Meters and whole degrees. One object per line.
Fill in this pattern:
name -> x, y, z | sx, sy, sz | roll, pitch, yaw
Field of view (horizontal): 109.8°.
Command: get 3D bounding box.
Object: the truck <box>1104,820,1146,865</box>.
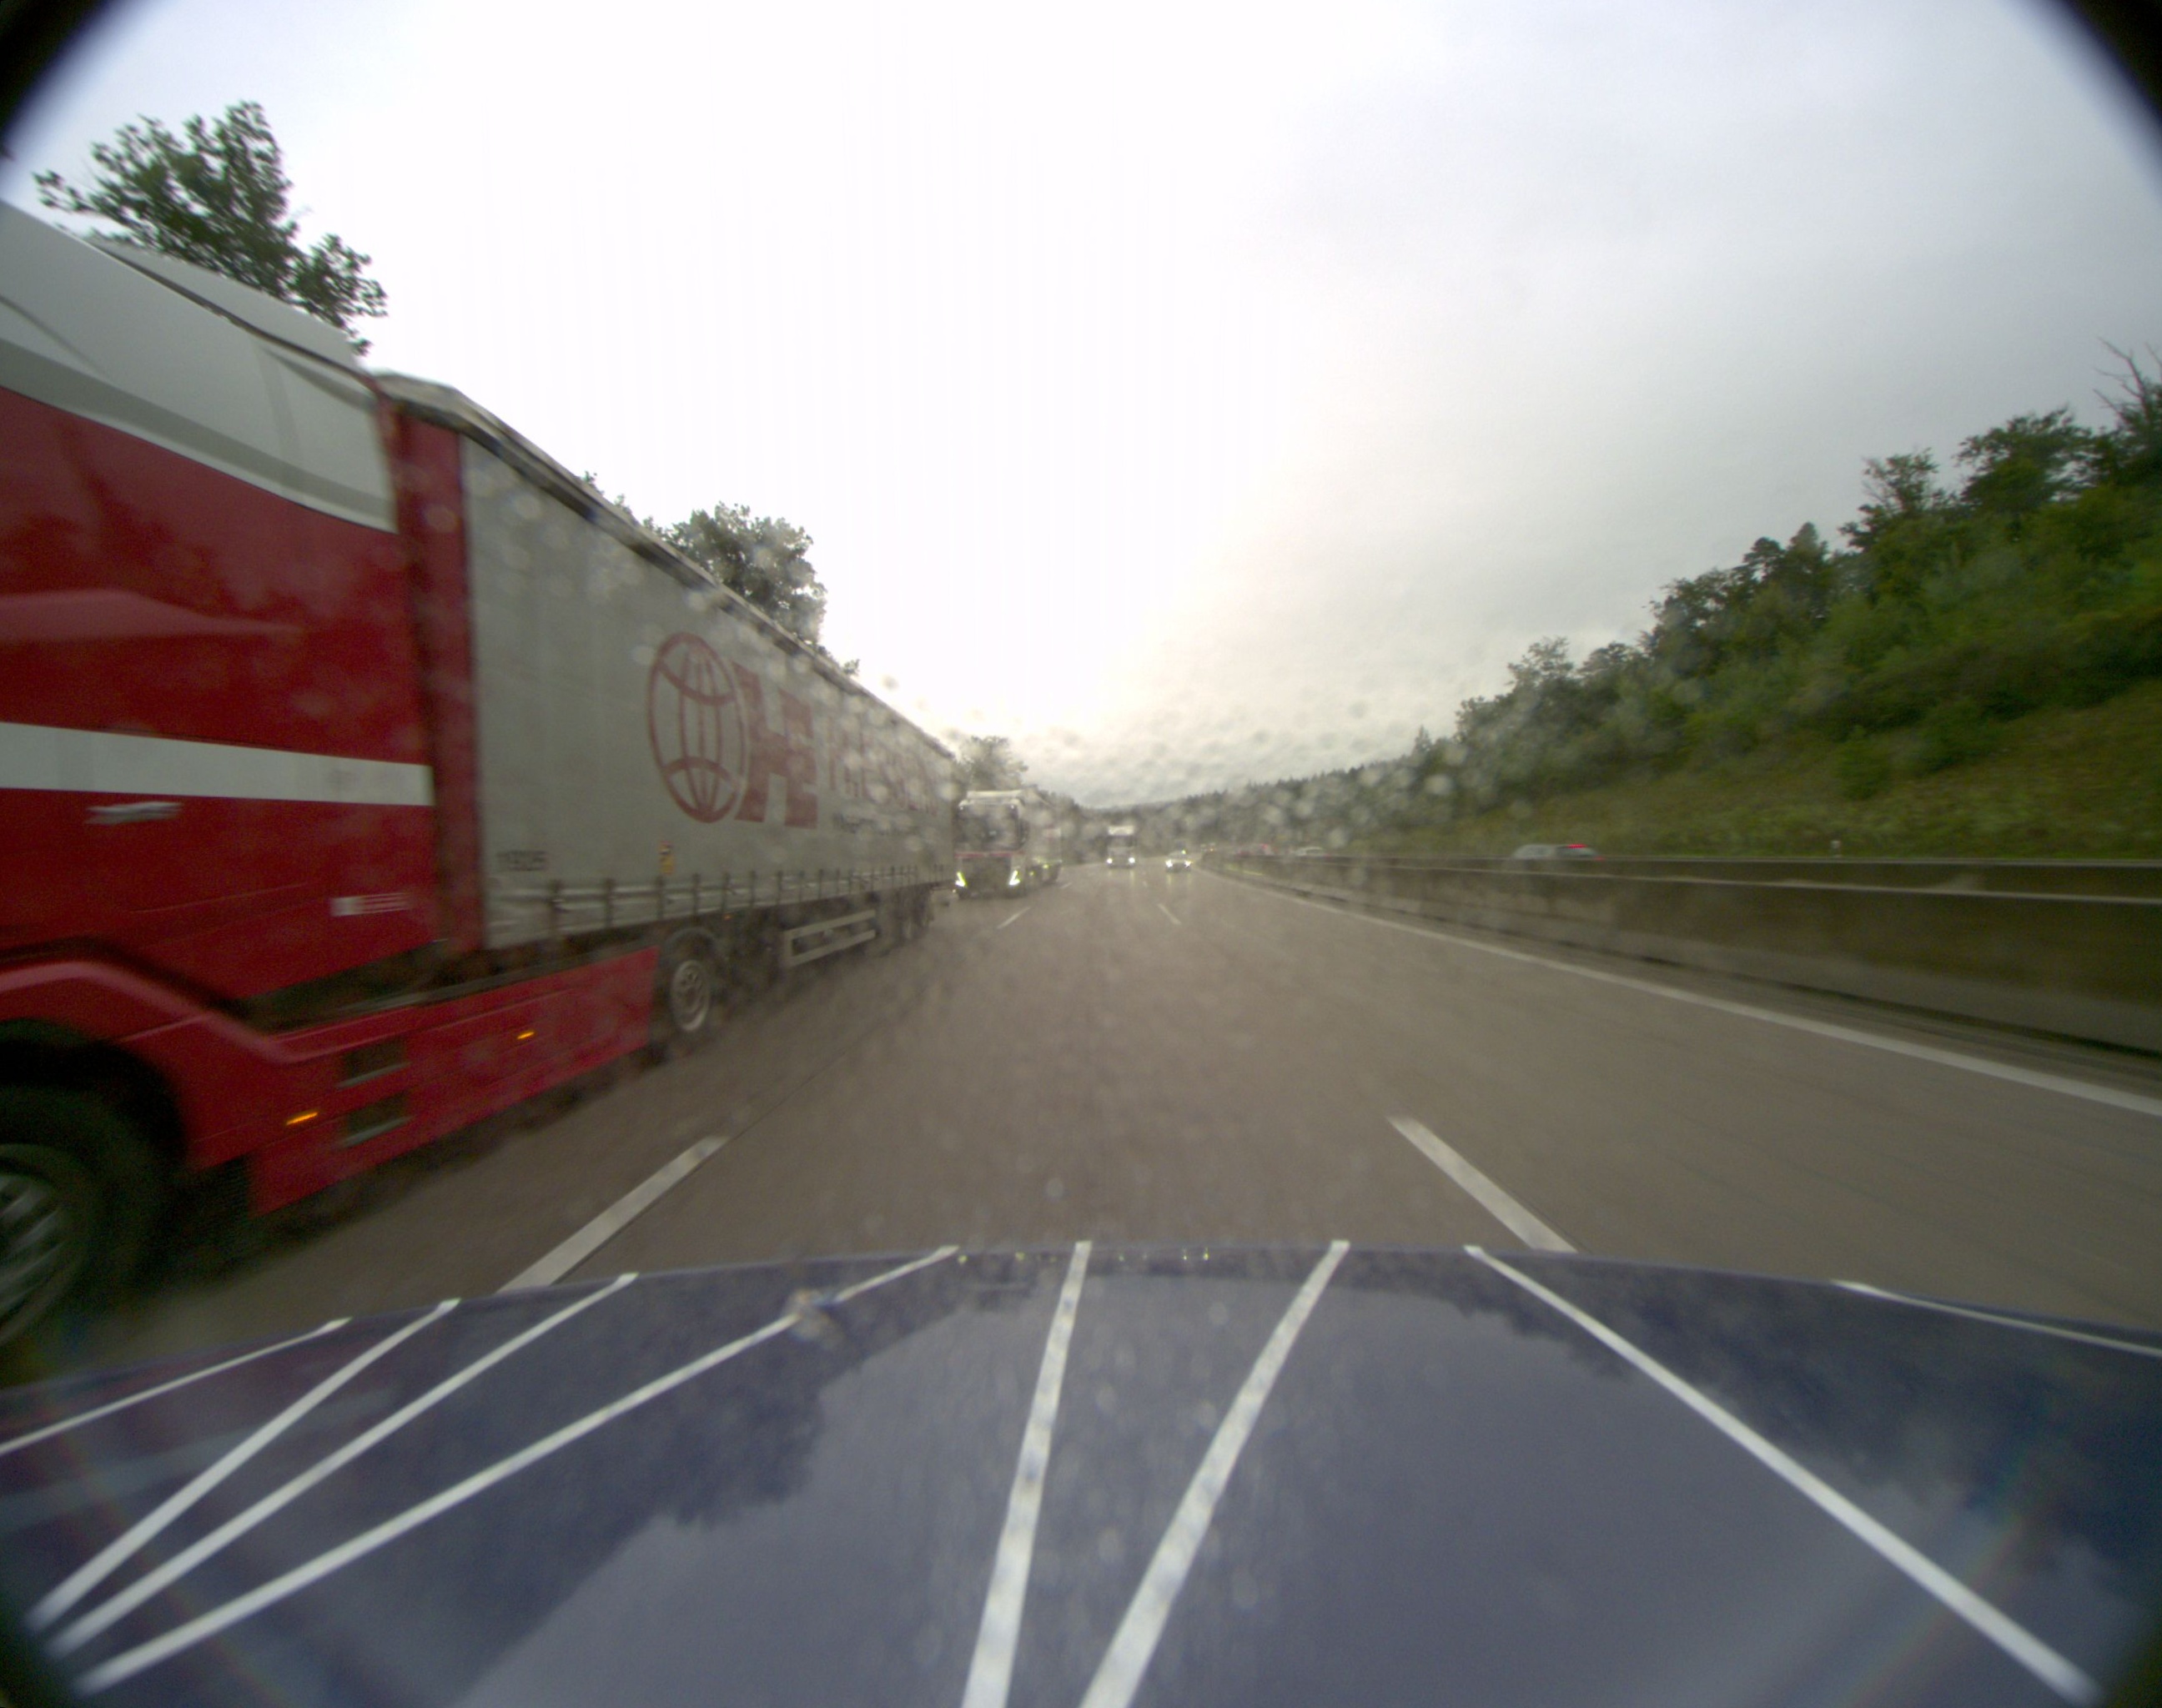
truck -> 4.343, -1.131, 73.680 | 2.725, 4.017, 5.758 | -4, 0, 14

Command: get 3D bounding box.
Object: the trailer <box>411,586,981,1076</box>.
trailer -> -3.971, -0.193, 12.458 | 2.376, 3.931, 12.521 | -1, 0, 3

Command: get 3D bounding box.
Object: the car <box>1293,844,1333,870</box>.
car -> 15.061, 0.181, 49.524 | 1.745, 1.552, 4.285 | -2, 0, 6

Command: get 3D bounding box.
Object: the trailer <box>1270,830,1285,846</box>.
trailer -> 50.151, -4.160, 194.239 | 3.019, 3.852, 13.711 | -2, 1, 13

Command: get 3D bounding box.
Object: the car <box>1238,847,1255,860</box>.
car -> 20.980, -0.132, 96.238 | 1.868, 1.539, 4.002 | -2, 0, 9

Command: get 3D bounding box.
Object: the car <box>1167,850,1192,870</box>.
car -> 7.357, 0.416, 56.938 | 1.716, 1.399, 4.938 | -2, 0, 7

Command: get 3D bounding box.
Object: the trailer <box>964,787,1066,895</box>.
trailer -> -2.713, -0.564, 36.426 | 2.740, 4.080, 13.684 | -2, 0, 3

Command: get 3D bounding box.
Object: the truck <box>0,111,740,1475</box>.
truck -> -4.266, -0.171, 3.421 | 2.381, 3.930, 6.160 | -3, 0, 1

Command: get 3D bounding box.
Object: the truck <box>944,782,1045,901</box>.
truck -> -3.179, -0.461, 29.722 | 2.805, 4.080, 5.968 | -2, 1, 3

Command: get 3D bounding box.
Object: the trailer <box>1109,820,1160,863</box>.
trailer -> 5.846, -1.330, 80.101 | 2.683, 4.017, 13.717 | -4, 0, 15

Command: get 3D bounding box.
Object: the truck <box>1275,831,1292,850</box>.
truck -> 37.141, -2.405, 139.240 | 2.626, 3.277, 9.390 | -2, 1, 13

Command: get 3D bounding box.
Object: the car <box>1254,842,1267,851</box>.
car -> 28.437, -1.132, 120.323 | 1.656, 1.338, 4.088 | -2, 1, 10

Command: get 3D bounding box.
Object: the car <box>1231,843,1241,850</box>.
car -> 30.798, -1.556, 151.390 | 1.656, 1.338, 4.088 | -2, 1, 7

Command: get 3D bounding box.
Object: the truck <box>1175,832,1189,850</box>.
truck -> 25.653, -3.255, 192.676 | 2.735, 4.127, 8.628 | -2, 0, 11

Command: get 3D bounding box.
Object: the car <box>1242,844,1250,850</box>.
car -> 40.502, -1.790, 186.979 | 1.656, 1.338, 4.088 | -2, 1, 9

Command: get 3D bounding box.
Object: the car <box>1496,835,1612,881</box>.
car -> 16.905, 0.127, 27.402 | 1.578, 1.478, 4.284 | -2, 0, 1

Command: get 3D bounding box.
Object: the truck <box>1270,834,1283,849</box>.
truck -> 52.042, -3.405, 202.555 | 3.030, 3.852, 8.124 | -2, 1, 14

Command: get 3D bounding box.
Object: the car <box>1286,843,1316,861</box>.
car -> 20.370, -0.223, 70.550 | 1.745, 1.552, 4.284 | -2, 0, 4
